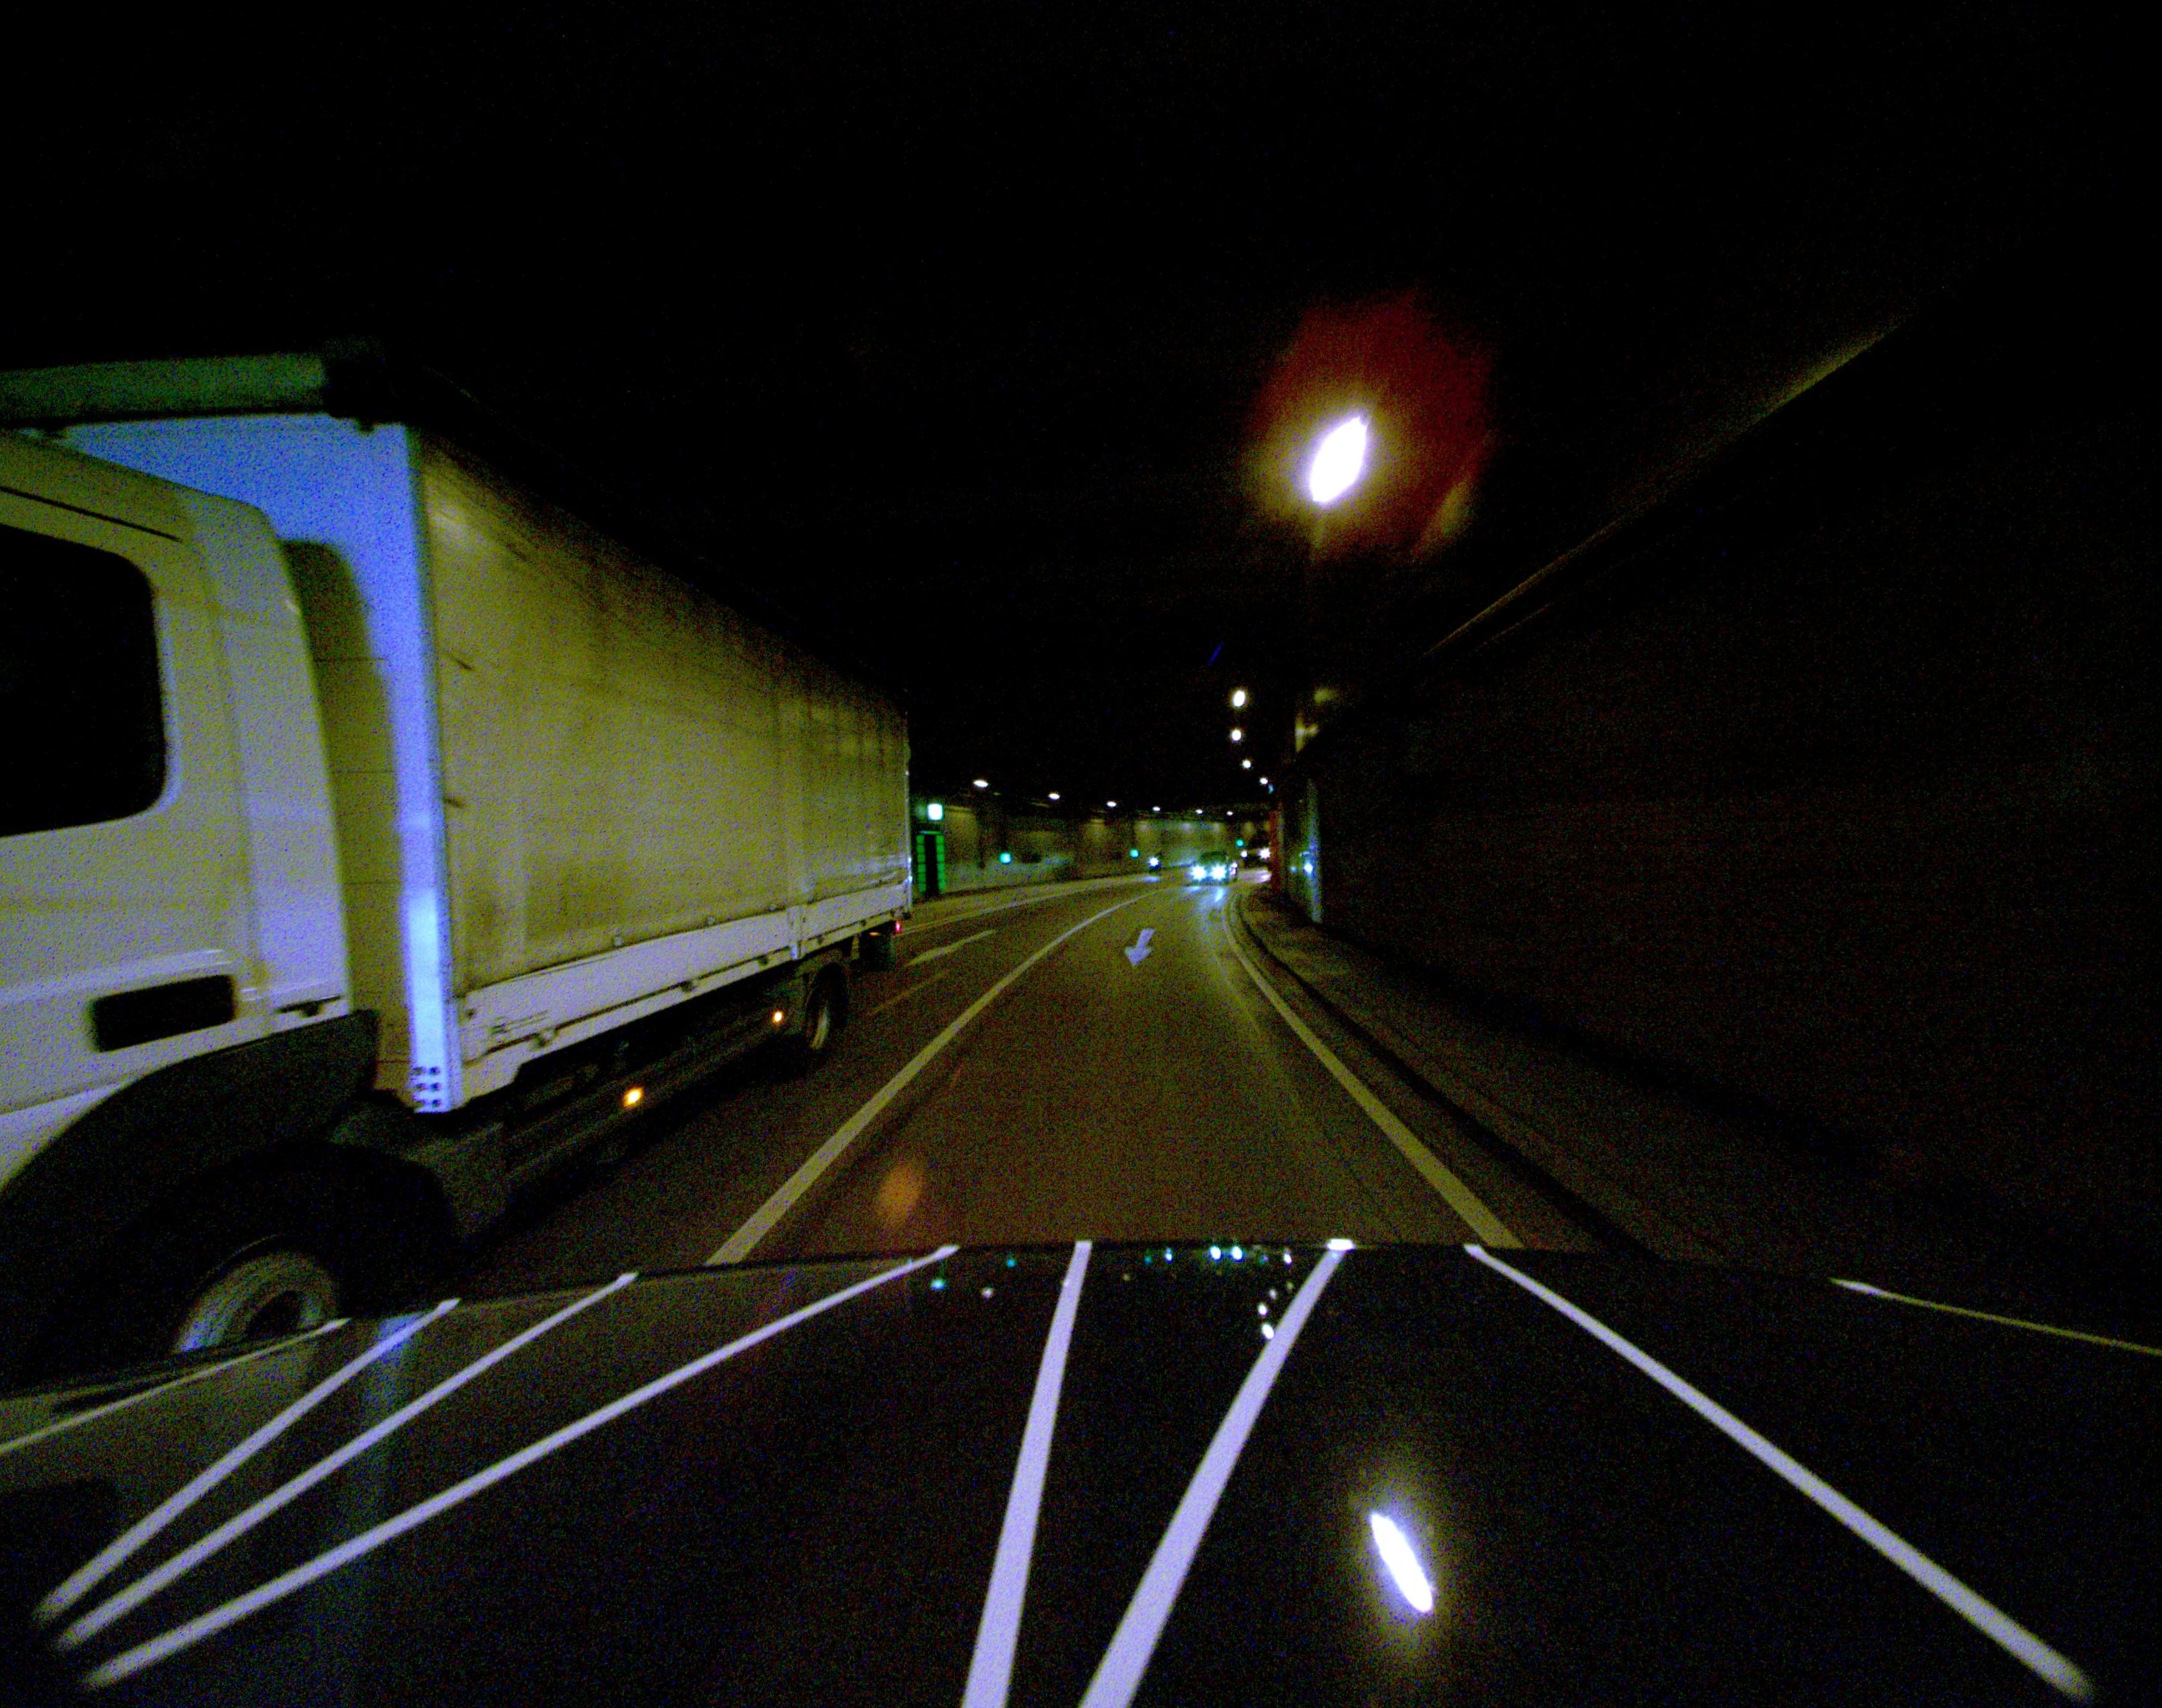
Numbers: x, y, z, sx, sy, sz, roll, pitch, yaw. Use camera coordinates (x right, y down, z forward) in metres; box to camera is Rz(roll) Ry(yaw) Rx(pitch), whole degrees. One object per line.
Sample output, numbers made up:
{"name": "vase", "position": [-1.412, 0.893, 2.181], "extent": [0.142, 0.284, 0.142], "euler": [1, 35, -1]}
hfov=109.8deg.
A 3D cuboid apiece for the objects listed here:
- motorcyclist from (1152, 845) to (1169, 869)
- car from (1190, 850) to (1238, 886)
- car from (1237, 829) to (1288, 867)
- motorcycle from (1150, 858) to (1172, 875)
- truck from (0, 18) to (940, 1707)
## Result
{"name": "motorcyclist", "position": [5.223, 0.195, 49.739], "extent": [0.745, 1.482, 0.788], "euler": [-4, 1, 34]}
{"name": "car", "position": [6.235, 0.615, 35.275], "extent": [1.719, 1.455, 4.004], "euler": [-2, 0, 16]}
{"name": "car", "position": [14.571, -0.516, 60.600], "extent": [2.556, 2.752, 7.362], "euler": [-2, 1, 24]}
{"name": "motorcycle", "position": [5.269, 0.784, 49.820], "extent": [0.549, 0.970, 1.838], "euler": [-4, 1, 34]}
{"name": "truck", "position": [-3.074, 0.083, 4.031], "extent": [2.635, 3.220, 7.417], "euler": [-2, 0, 4]}
